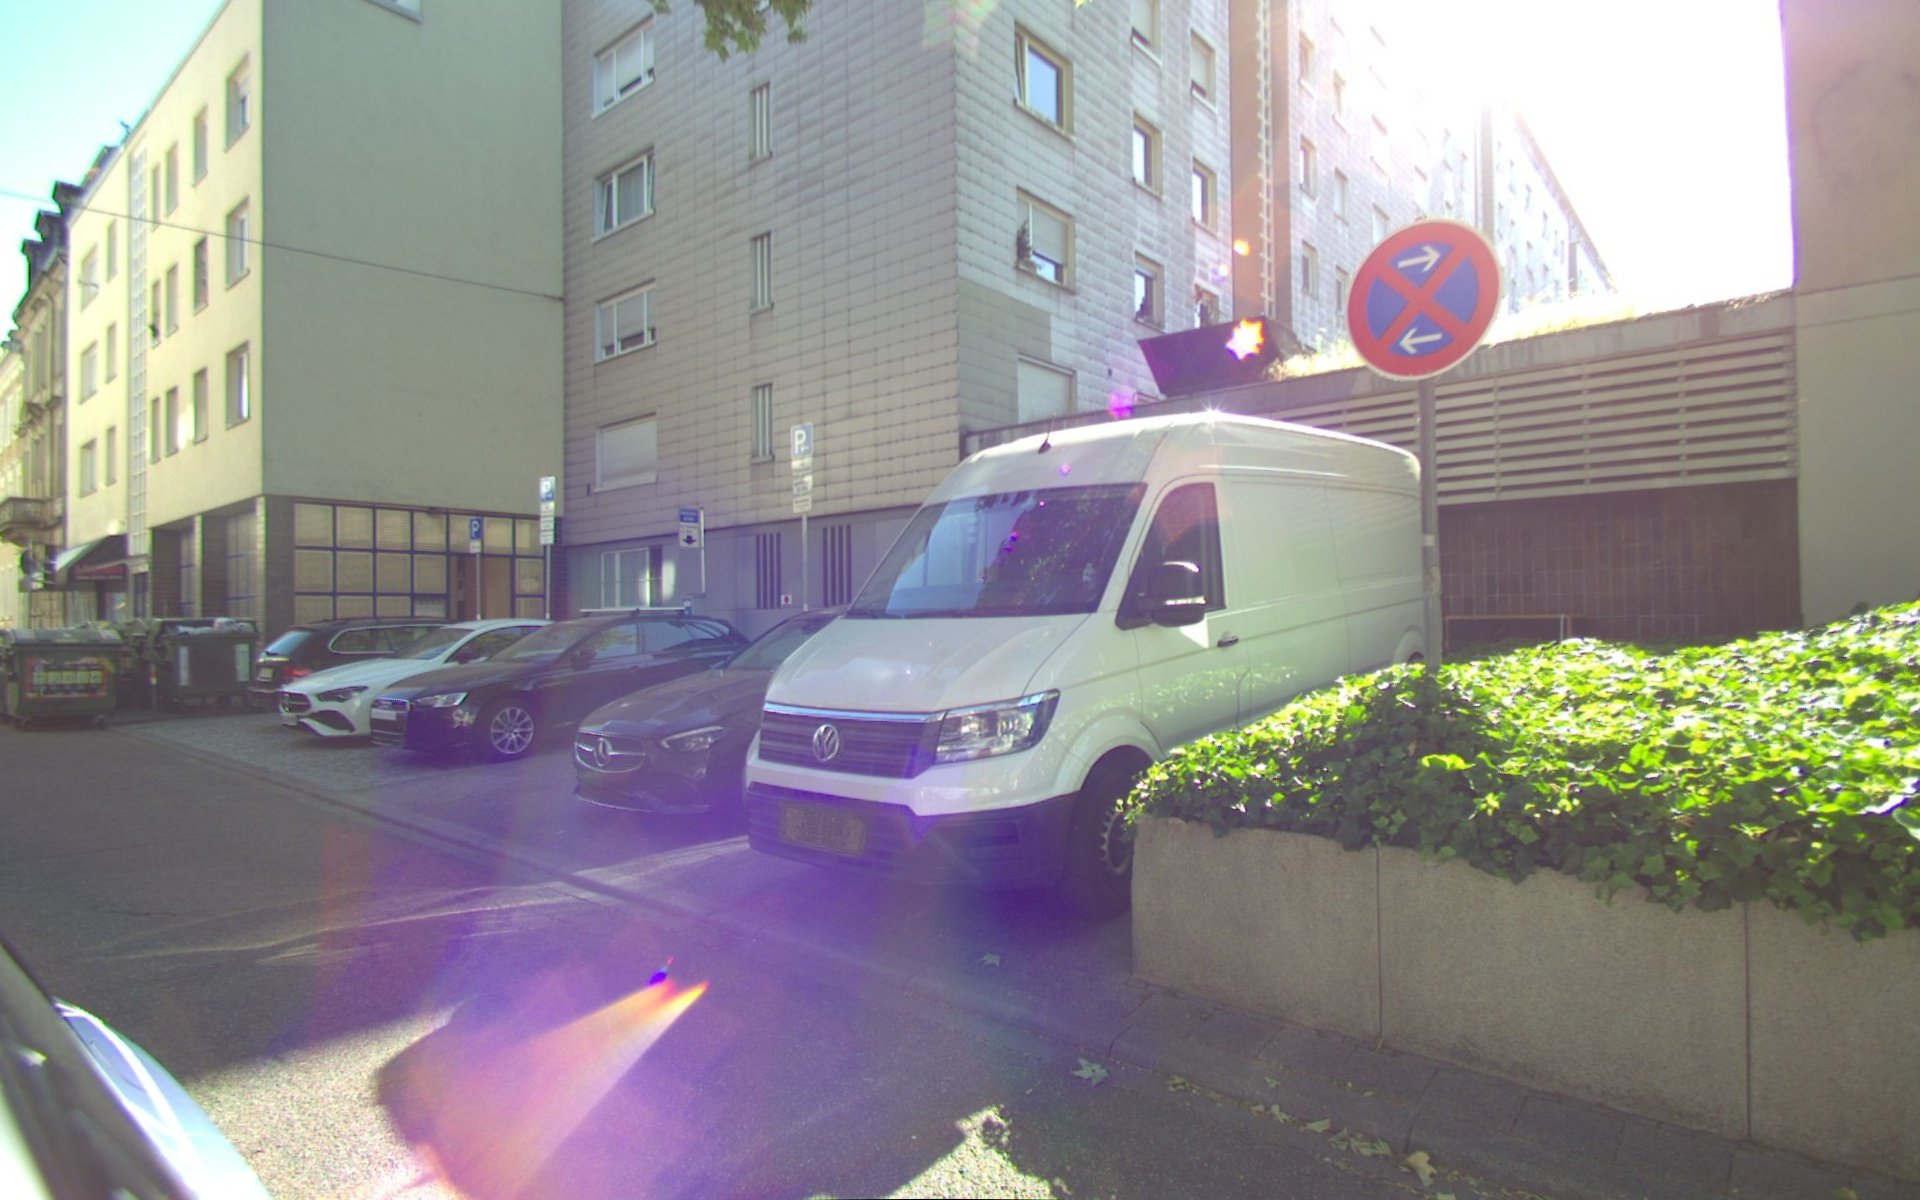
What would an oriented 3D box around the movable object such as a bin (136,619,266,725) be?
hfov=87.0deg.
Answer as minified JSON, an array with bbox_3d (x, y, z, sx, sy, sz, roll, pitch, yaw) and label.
[{"bbox_3d":[-11.862,1.080,15.838,1.118,1.561,1.341,-1,-1,34],"label":"movable object such as a bin"}]

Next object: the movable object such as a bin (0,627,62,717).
[{"bbox_3d":[-16.430,1.218,17.411,1.002,1.498,1.335,-1,-1,40],"label":"movable object such as a bin"}]

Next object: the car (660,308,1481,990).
[{"bbox_3d":[1.492,0.062,7.032,2.145,2.574,6.669,-1,2,42],"label":"car"}]

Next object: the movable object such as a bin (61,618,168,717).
[{"bbox_3d":[-14.818,1.140,17.742,1.017,1.633,1.281,-1,-1,40],"label":"movable object such as a bin"}]

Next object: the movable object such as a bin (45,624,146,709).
[{"bbox_3d":[-16.347,1.220,19.151,1.156,1.510,1.292,-1,-1,40],"label":"movable object such as a bin"}]

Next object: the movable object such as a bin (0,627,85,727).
[{"bbox_3d":[-14.834,1.199,16.042,1.081,1.502,1.321,-1,-1,40],"label":"movable object such as a bin"}]

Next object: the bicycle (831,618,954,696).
[{"bbox_3d":[-1.082,0.880,15.805,2.036,1.132,0.603,-2,-1,40],"label":"bicycle"}]

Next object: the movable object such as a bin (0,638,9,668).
[{"bbox_3d":[-37.068,2.038,38.837,0.584,1.140,0.713,-1,-2,37],"label":"movable object such as a bin"}]

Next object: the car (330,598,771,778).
[{"bbox_3d":[-4.545,0.836,11.855,1.913,1.622,4.423,-1,0,38],"label":"car"}]

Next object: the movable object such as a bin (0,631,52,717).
[{"bbox_3d":[-17.228,1.311,18.082,1.093,1.495,1.320,-1,-3,40],"label":"movable object such as a bin"}]

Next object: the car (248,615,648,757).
[{"bbox_3d":[-6.561,0.979,13.380,1.955,1.436,4.299,-1,0,39],"label":"car"}]

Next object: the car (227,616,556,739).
[{"bbox_3d":[-8.201,1.013,14.870,1.825,1.516,3.837,-1,-1,39],"label":"car"}]

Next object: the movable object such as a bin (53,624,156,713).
[{"bbox_3d":[-15.562,1.206,18.413,1.017,1.534,1.289,-1,-1,40],"label":"movable object such as a bin"}]

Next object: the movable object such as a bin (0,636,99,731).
[{"bbox_3d":[-13.975,1.238,15.367,1.045,1.332,1.228,-1,-1,40],"label":"movable object such as a bin"}]

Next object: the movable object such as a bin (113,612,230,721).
[{"bbox_3d":[-12.831,1.043,16.486,1.171,1.665,1.217,-1,-1,34],"label":"movable object such as a bin"}]

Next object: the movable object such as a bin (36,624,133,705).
[{"bbox_3d":[-17.221,1.238,19.910,1.178,1.509,1.283,-1,-1,40],"label":"movable object such as a bin"}]

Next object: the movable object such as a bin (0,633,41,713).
[{"bbox_3d":[-18.116,1.351,18.847,1.186,1.461,1.306,-1,-3,40],"label":"movable object such as a bin"}]

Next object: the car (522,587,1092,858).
[{"bbox_3d":[-0.980,0.739,8.414,1.928,1.481,4.453,-2,1,41],"label":"car"}]

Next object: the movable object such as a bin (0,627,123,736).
[{"bbox_3d":[-13.123,1.131,14.677,1.115,1.462,1.288,-1,-1,37],"label":"movable object such as a bin"}]

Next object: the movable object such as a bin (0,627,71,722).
[{"bbox_3d":[-15.657,1.207,16.723,1.017,1.510,1.329,-1,-1,40],"label":"movable object such as a bin"}]

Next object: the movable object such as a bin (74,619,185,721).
[{"bbox_3d":[-14.000,1.133,17.062,1.081,1.616,1.275,-1,-1,40],"label":"movable object such as a bin"}]
